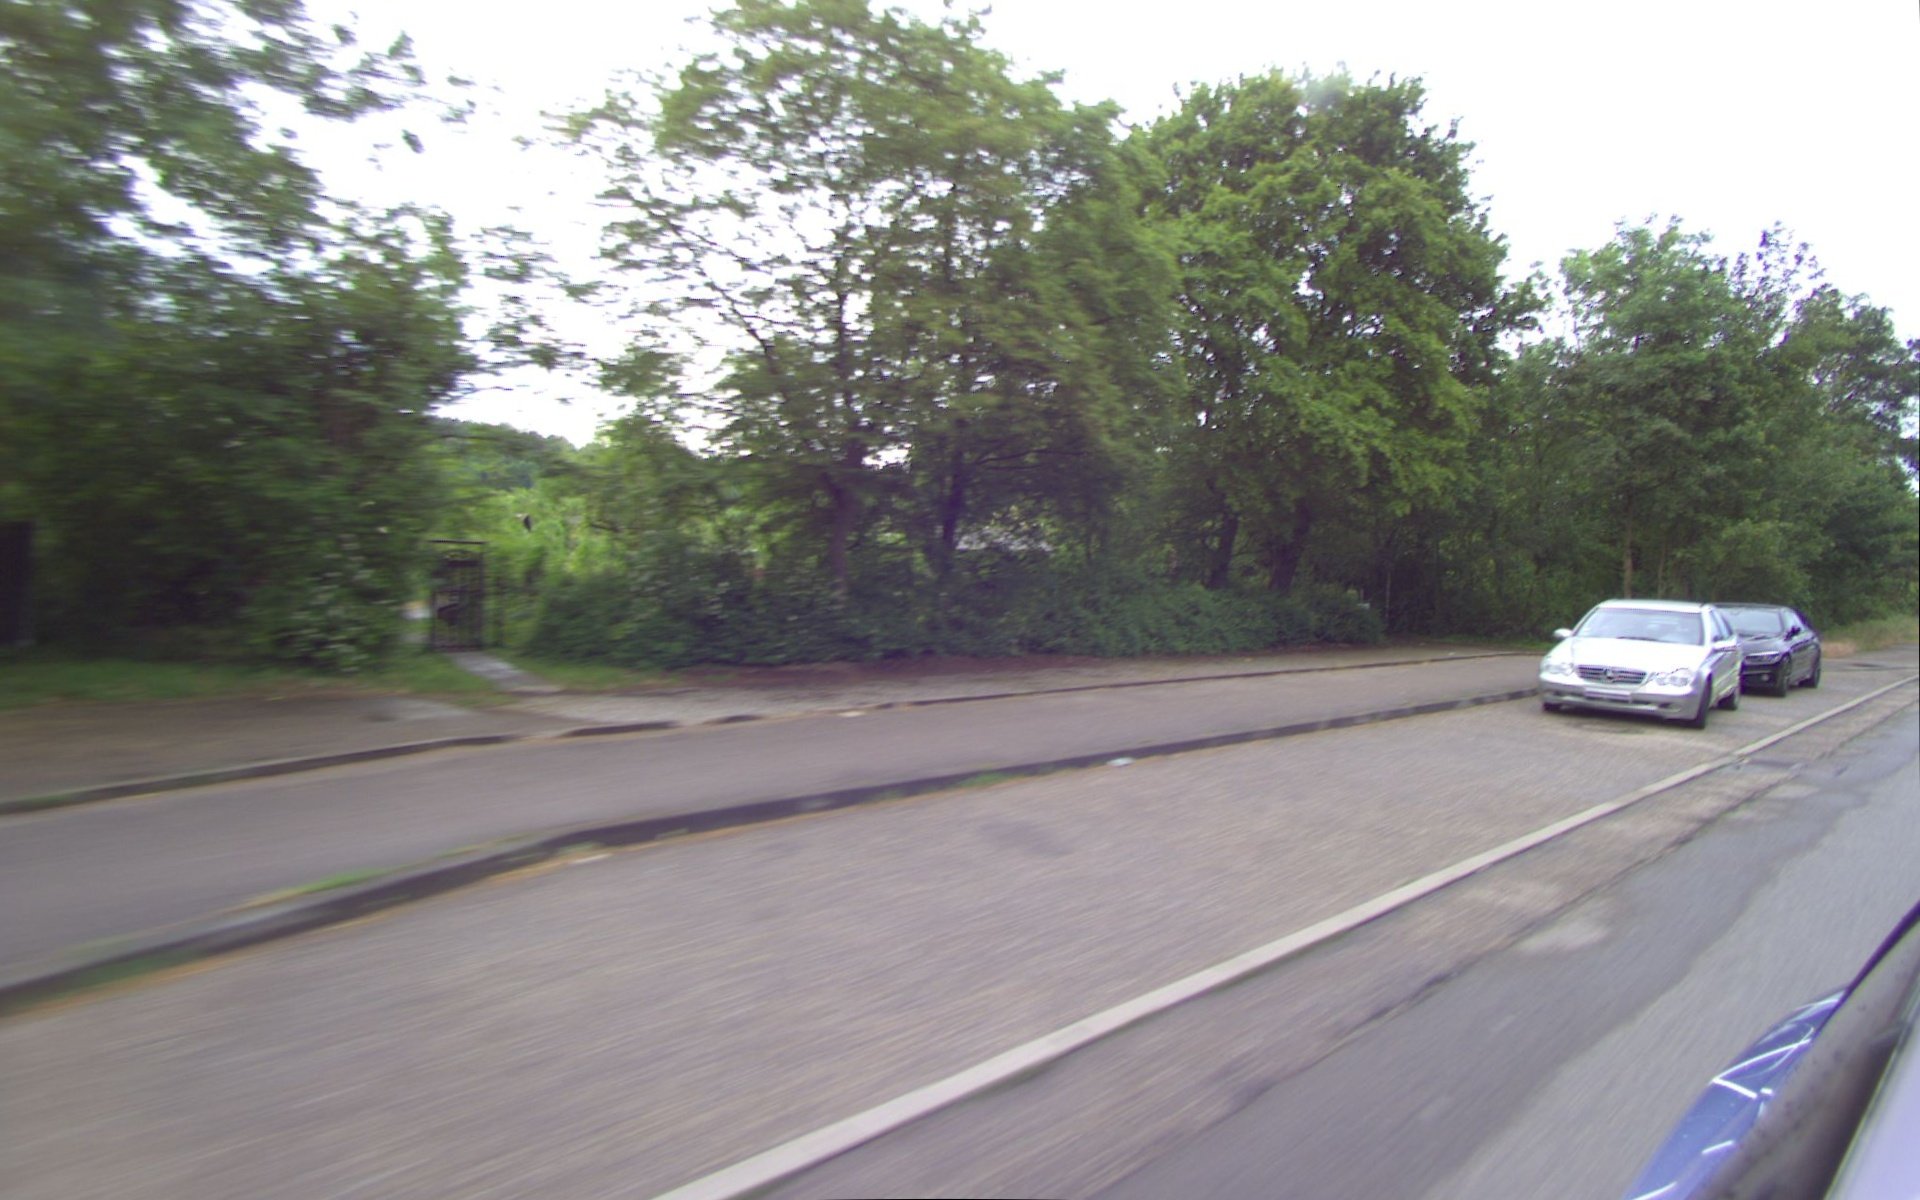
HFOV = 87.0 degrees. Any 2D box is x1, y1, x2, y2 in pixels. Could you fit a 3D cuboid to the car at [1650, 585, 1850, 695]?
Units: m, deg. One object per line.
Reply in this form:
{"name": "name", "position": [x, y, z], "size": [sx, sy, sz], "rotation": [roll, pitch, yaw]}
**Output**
{"name": "car", "position": [13.497, 0.563, 17.177], "size": [4.587, 1.528, 1.810], "rotation": [-1, 4, -42]}

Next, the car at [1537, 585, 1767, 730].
{"name": "car", "position": [9.081, 0.597, 13.138], "size": [1.745, 1.486, 4.154], "rotation": [4, 4, 44]}
